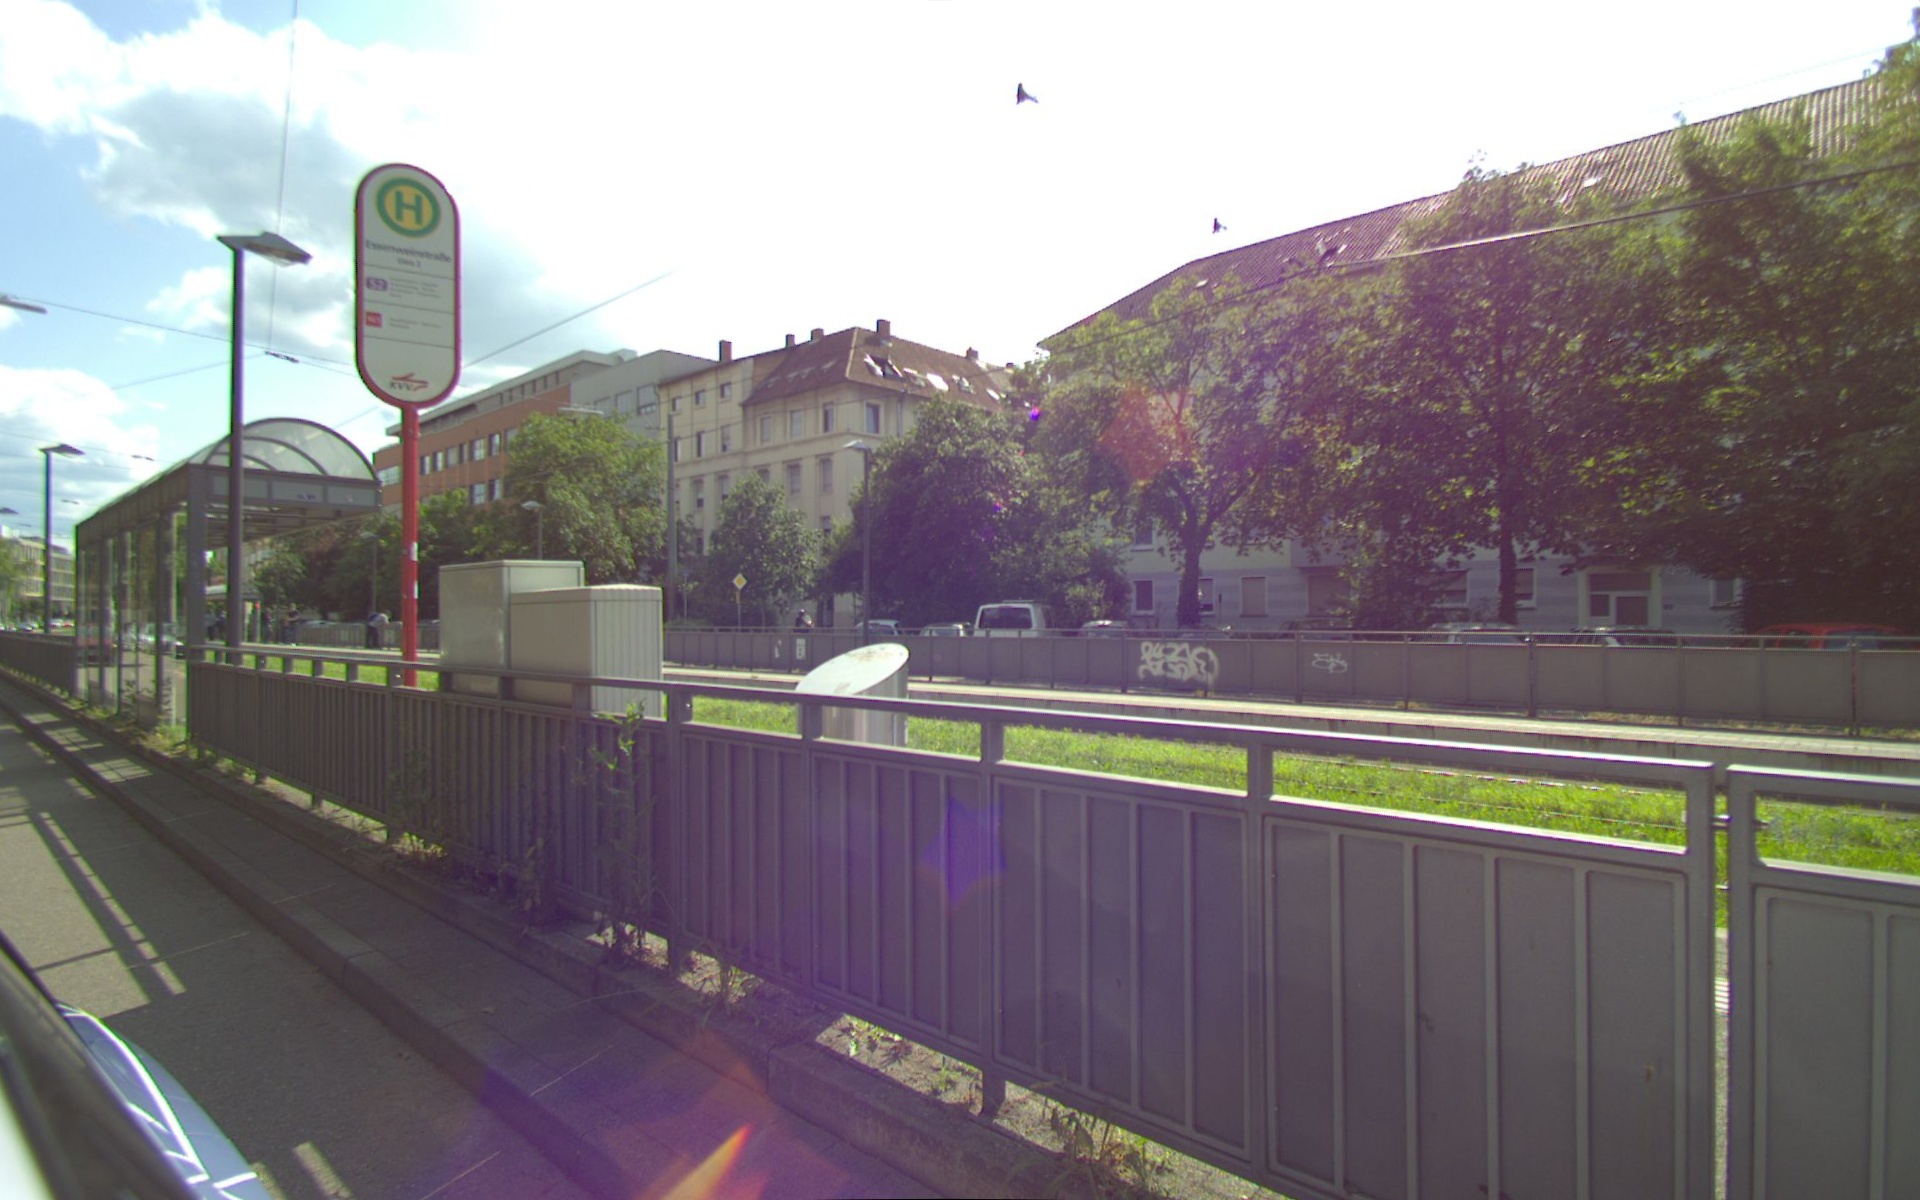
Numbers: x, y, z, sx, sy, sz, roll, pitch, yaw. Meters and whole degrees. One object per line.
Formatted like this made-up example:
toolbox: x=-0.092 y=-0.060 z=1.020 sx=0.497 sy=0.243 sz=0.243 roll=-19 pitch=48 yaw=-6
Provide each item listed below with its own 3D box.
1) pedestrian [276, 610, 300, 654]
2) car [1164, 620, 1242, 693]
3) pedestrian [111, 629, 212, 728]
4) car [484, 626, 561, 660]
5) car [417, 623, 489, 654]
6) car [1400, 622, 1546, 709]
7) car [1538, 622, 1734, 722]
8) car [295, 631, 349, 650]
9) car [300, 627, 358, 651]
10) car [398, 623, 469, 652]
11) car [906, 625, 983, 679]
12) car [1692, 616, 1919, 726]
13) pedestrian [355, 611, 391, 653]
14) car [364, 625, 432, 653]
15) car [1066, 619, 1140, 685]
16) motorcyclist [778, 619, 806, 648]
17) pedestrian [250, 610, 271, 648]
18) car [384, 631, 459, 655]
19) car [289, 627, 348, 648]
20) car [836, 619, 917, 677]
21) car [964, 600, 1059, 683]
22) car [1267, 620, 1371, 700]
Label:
pedestrian: x=-29.858 y=1.425 z=44.976 sx=0.742 sy=1.906 sz=0.639 roll=1 pitch=0 yaw=-45
car: x=5.688 y=1.279 z=23.960 sx=1.632 sy=1.591 sz=3.652 roll=-1 pitch=-1 yaw=12
pedestrian: x=-9.132 y=0.878 z=11.604 sx=0.652 sy=1.080 sz=0.725 roll=0 pitch=-2 yaw=-13
car: x=-21.536 y=2.081 z=49.978 sx=1.901 sy=1.576 sz=4.150 roll=0 pitch=-1 yaw=2
car: x=-28.396 y=2.121 z=56.809 sx=1.811 sy=1.652 sz=4.132 roll=0 pitch=-1 yaw=3
car: x=9.855 y=1.189 z=19.735 sx=1.593 sy=1.525 sz=4.011 roll=-1 pitch=-1 yaw=13
car: x=11.911 y=1.205 z=18.123 sx=1.632 sy=1.591 sz=3.652 roll=-1 pitch=-1 yaw=12
car: x=-45.806 y=2.898 z=72.721 sx=1.585 sy=1.314 sz=3.244 roll=-1 pitch=-1 yaw=8
car: x=-43.806 y=2.691 z=70.360 sx=1.569 sy=1.431 sz=3.299 roll=-1 pitch=1 yaw=13
car: x=-30.527 y=2.171 z=58.769 sx=1.591 sy=1.580 sz=3.988 roll=-1 pitch=-1 yaw=9
car: x=-0.392 y=1.508 z=30.188 sx=1.591 sy=1.497 sz=3.988 roll=-1 pitch=-1 yaw=9
car: x=13.829 y=1.070 z=16.545 sx=1.632 sy=1.591 sz=3.652 roll=-1 pitch=-1 yaw=12
pedestrian: x=-22.746 y=1.233 z=39.203 sx=0.798 sy=1.590 sz=0.978 roll=-1 pitch=-2 yaw=40
car: x=-34.712 y=2.388 z=62.649 sx=1.652 sy=1.540 sz=3.992 roll=-2 pitch=0 yaw=6
car: x=3.807 y=1.300 z=26.515 sx=1.701 sy=1.591 sz=3.937 roll=-1 pitch=-1 yaw=11
motorcyclist: x=-7.971 y=1.601 z=48.024 sx=0.987 sy=1.349 sz=0.928 roll=-2 pitch=-2 yaw=44
pedestrian: x=-33.305 y=1.376 z=48.201 sx=0.599 sy=1.767 sz=0.626 roll=0 pitch=-1 yaw=-7
car: x=-32.495 y=2.586 z=61.192 sx=1.775 sy=1.159 sz=3.983 roll=-2 pitch=0 yaw=14
car: x=-47.962 y=2.791 z=75.699 sx=1.631 sy=1.508 sz=3.993 roll=-1 pitch=-1 yaw=6
car: x=-2.540 y=1.466 z=31.838 sx=1.805 sy=1.652 sz=3.992 roll=-2 pitch=-2 yaw=6
car: x=1.503 y=1.105 z=27.807 sx=2.029 sy=2.086 sz=3.937 roll=-1 pitch=-1 yaw=12
car: x=7.743 y=1.254 z=22.103 sx=1.632 sy=1.591 sz=3.652 roll=-1 pitch=-1 yaw=12
